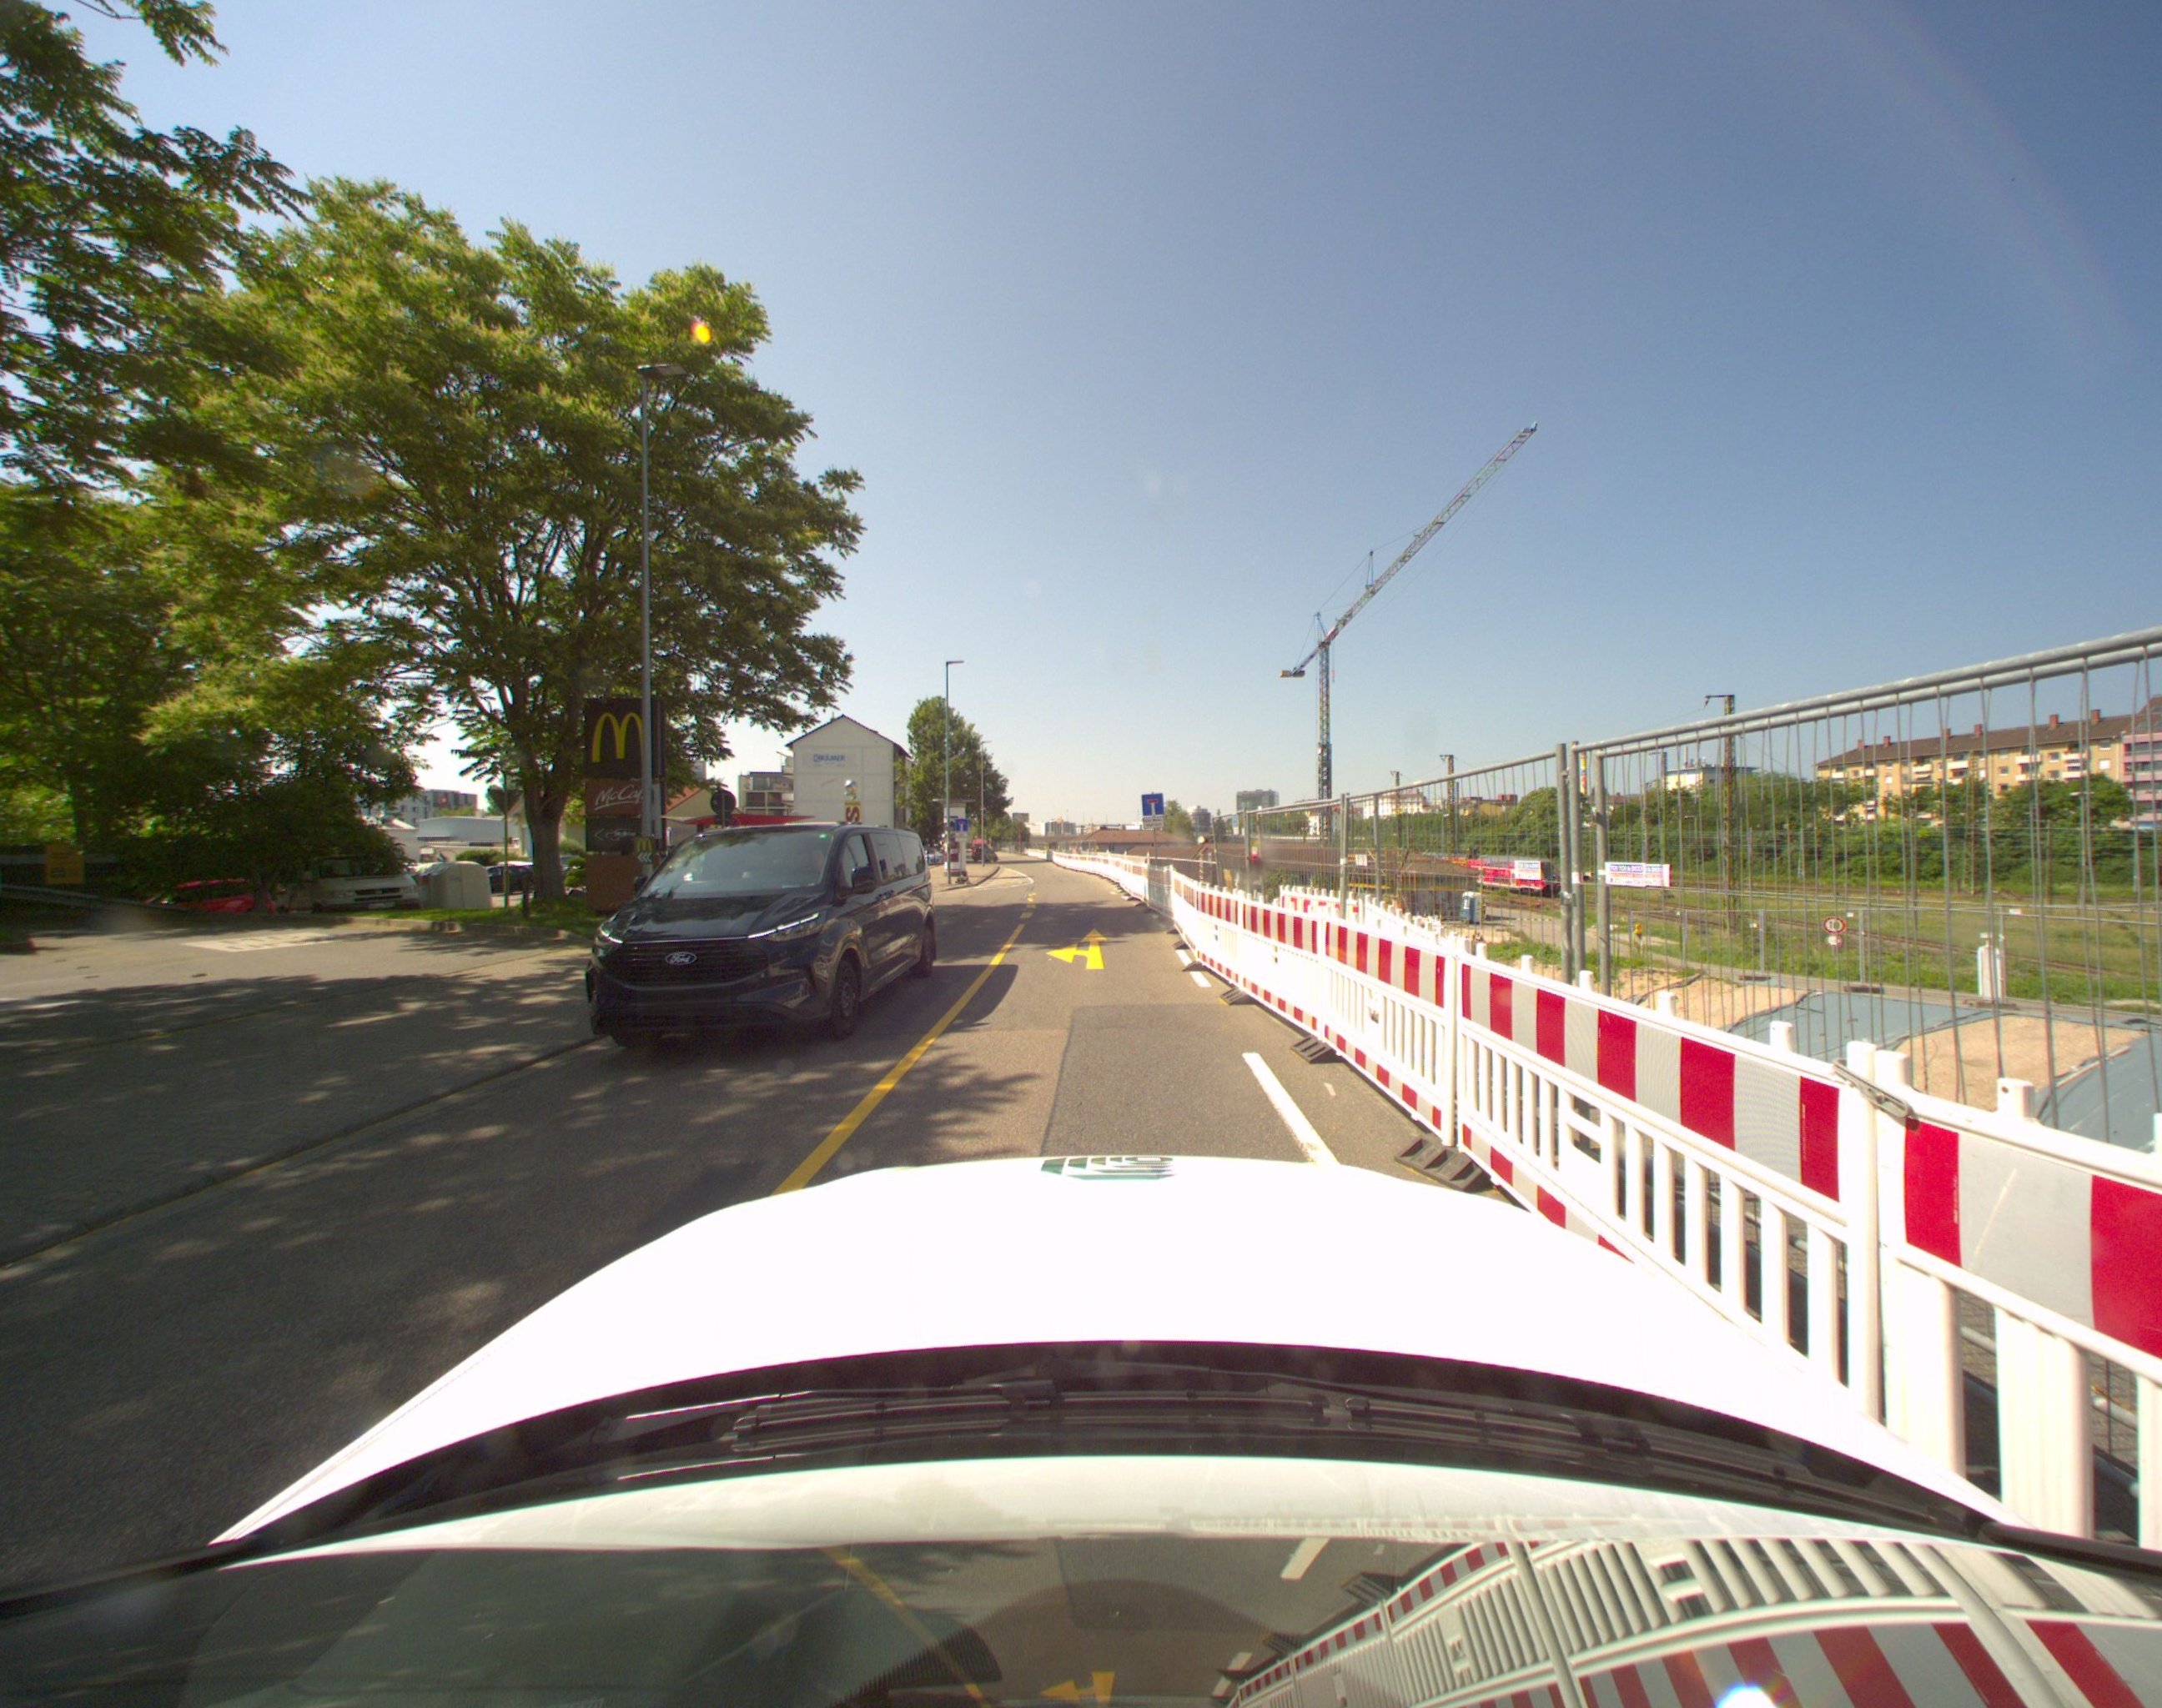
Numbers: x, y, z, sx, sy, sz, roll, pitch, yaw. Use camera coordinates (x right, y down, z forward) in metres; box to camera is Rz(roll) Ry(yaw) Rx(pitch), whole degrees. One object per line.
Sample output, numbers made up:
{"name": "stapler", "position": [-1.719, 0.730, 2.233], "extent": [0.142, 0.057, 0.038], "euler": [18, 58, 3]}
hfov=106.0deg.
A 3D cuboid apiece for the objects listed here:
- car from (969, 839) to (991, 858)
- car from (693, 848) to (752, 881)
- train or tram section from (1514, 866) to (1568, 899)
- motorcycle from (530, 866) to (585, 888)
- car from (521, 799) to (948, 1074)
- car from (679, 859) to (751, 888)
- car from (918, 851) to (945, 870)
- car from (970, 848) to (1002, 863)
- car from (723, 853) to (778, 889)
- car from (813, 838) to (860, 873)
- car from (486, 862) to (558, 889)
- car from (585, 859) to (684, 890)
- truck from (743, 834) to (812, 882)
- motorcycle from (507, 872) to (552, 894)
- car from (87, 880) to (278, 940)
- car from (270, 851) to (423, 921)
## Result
{"name": "car", "position": [-13.307, -0.711, 107.370], "extent": [2.532, 2.520, 5.112], "euler": [0, -1, -3]}
{"name": "car", "position": [-22.864, 0.656, 52.155], "extent": [1.989, 2.014, 4.490], "euler": [0, 0, -3]}
{"name": "train or tram section", "position": [55.988, 3.419, 99.344], "extent": [2.995, 3.701, 9.000], "euler": [2, 0, 11]}
{"name": "motorcycle", "position": [-30.980, 1.358, 48.244], "extent": [0.988, 1.227, 2.731], "euler": [0, -1, 18]}
{"name": "car", "position": [-3.045, 0.635, 8.821], "extent": [2.169, 1.968, 5.444], "euler": [-2, -1, 1]}
{"name": "car", "position": [-19.747, 1.019, 44.134], "extent": [1.780, 1.487, 4.005], "euler": [0, 0, 5]}
{"name": "car", "position": [-13.342, 0.590, 72.402], "extent": [1.862, 1.629, 3.976], "euler": [-1, 0, -18]}
{"name": "car", "position": [-10.869, 0.166, 93.557], "extent": [3.300, 1.637, 1.705], "euler": [0, -1, -45]}
{"name": "car", "position": [-15.384, 0.760, 37.764], "extent": [2.057, 1.594, 4.385], "euler": [0, -1, -26]}
{"name": "car", "position": [-16.922, 0.083, 56.626], "extent": [2.132, 2.284, 4.703], "euler": [0, 0, -5]}
{"name": "car", "position": [-34.384, 1.308, 50.100], "extent": [3.950, 1.585, 2.012], "euler": [0, -1, 27]}
{"name": "car", "position": [-23.898, 1.042, 43.673], "extent": [4.358, 1.585, 1.976], "euler": [0, -1, -41]}
{"name": "truck", "position": [-19.592, 0.229, 52.975], "extent": [2.262, 2.904, 5.941], "euler": [0, 0, -1]}
{"name": "motorcycle", "position": [-30.325, 1.576, 44.781], "extent": [0.779, 1.158, 1.886], "euler": [-1, -1, 37]}
{"name": "car", "position": [-26.009, 1.564, 23.697], "extent": [1.468, 1.378, 3.436], "euler": [1, 2, 27]}
{"name": "car", "position": [-19.025, 0.726, 21.026], "extent": [4.966, 1.583, 1.970], "euler": [1, 0, 36]}
